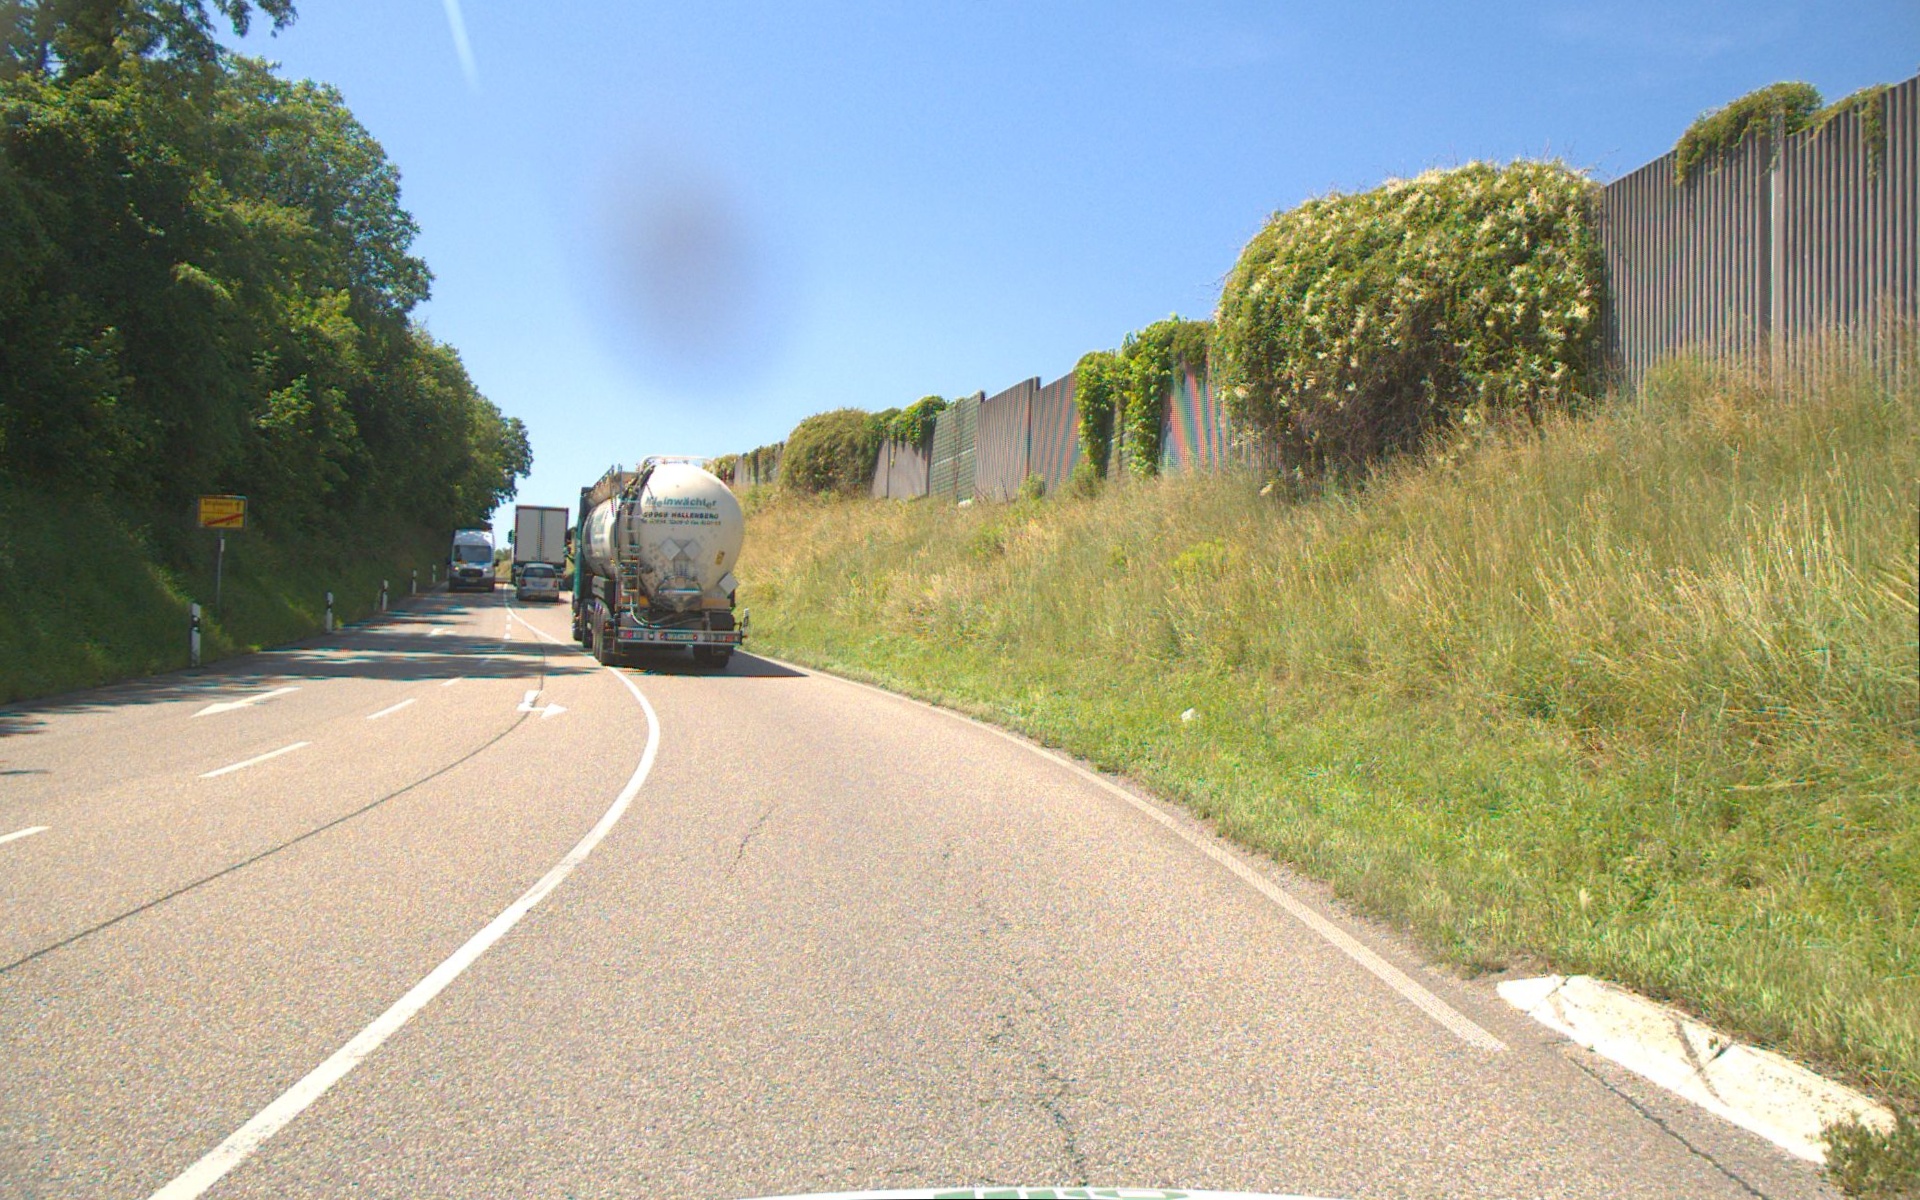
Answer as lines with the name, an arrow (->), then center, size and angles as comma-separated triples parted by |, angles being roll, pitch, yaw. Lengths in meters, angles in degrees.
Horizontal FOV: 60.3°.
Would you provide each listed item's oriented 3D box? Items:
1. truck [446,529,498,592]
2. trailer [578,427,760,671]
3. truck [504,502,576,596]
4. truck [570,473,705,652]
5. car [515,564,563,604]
truck -> -22.642, -1.874, 76.900 | 2.019, 2.733, 5.959 | 2, 2, -15
trailer -> -6.535, -0.983, 35.454 | 2.617, 4.261, 11.855 | 3, 0, -15
truck -> -22.363, -2.640, 87.635 | 3.139, 4.383, 11.751 | 5, 0, -16
truck -> -8.196, -0.902, 41.362 | 2.682, 3.998, 7.233 | 2, 0, -15
car -> -17.828, -0.666, 69.960 | 1.622, 1.536, 3.619 | 3, -1, -19
